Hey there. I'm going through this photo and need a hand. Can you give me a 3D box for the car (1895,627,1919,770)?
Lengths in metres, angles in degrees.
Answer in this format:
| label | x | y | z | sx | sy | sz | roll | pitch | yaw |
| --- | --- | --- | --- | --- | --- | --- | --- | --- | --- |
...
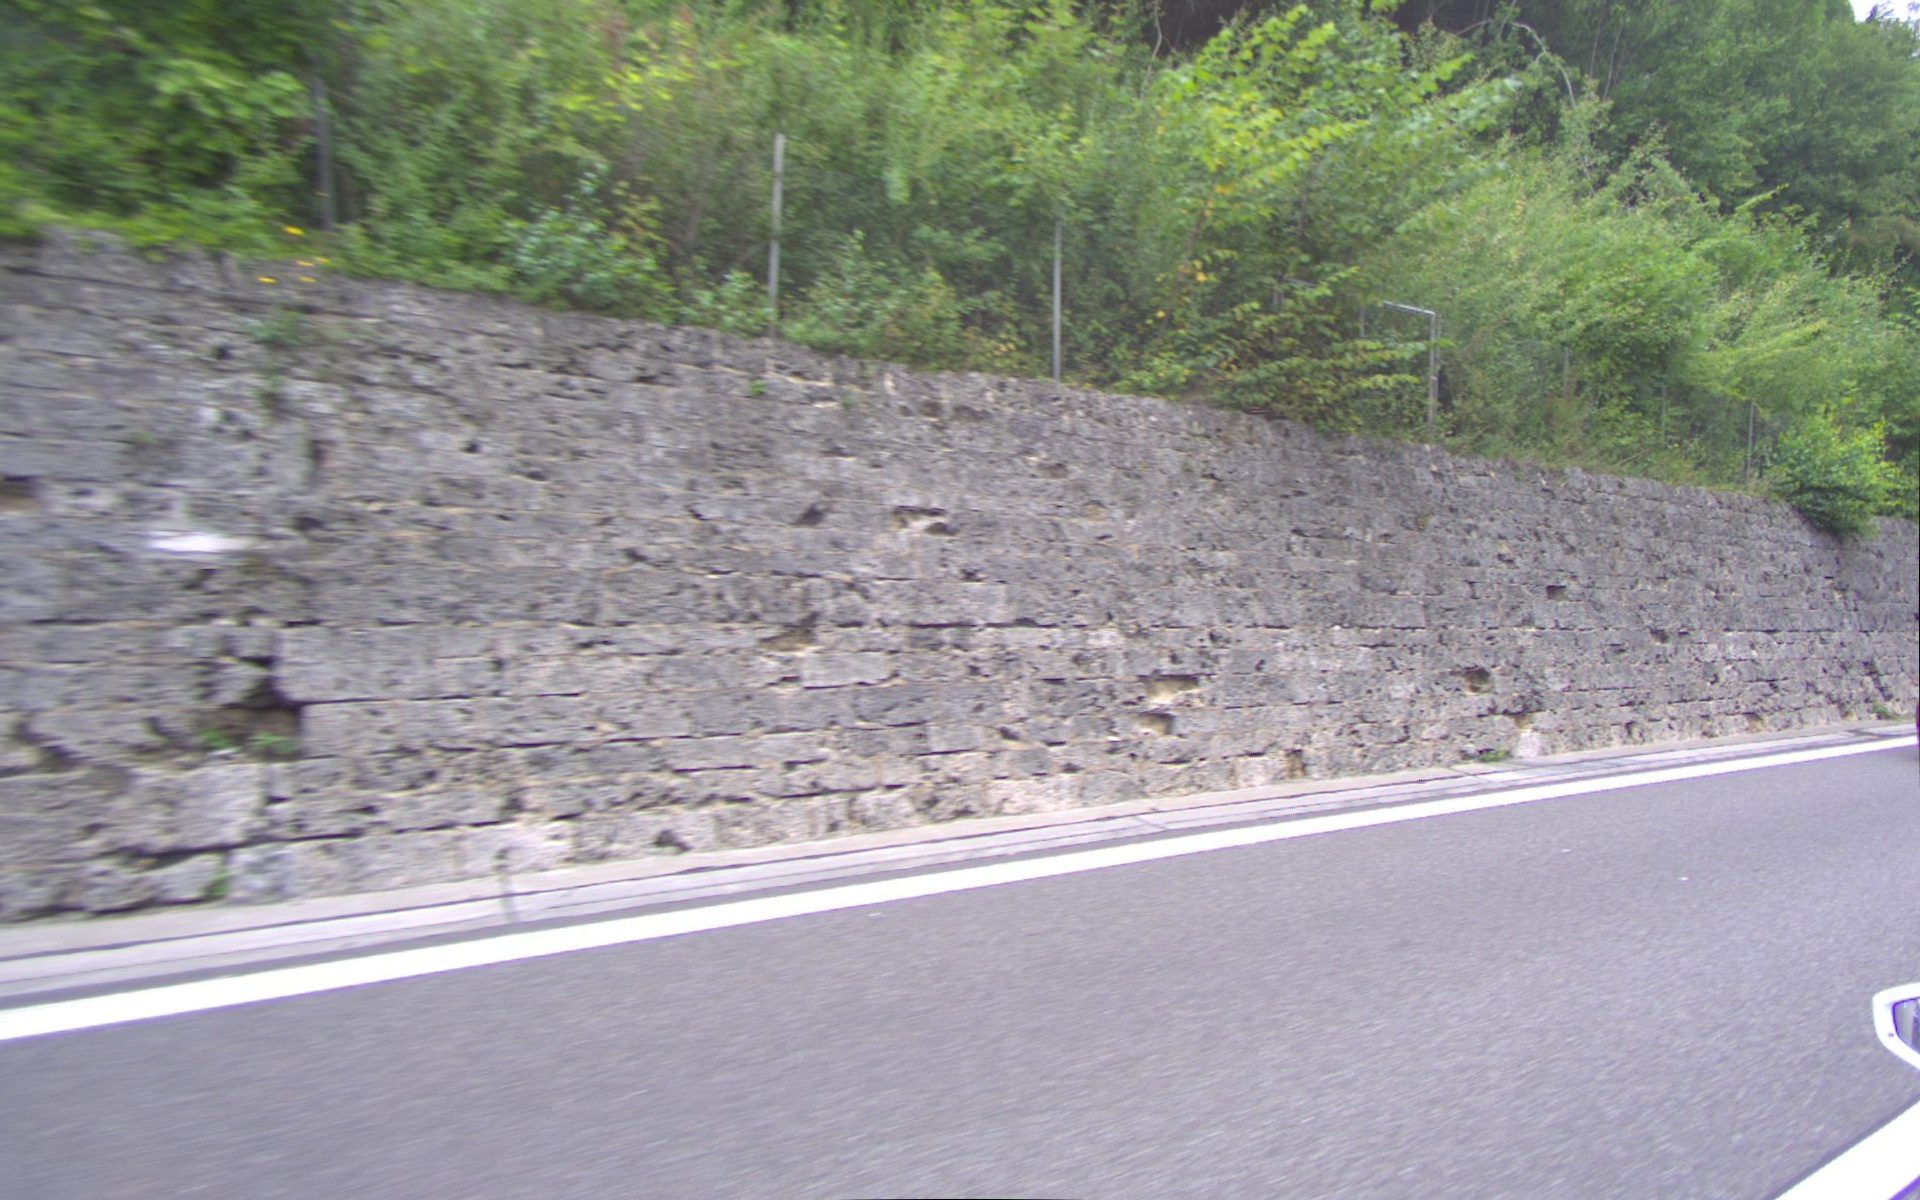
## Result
| label | x | y | z | sx | sy | sz | roll | pitch | yaw |
| --- | --- | --- | --- | --- | --- | --- | --- | --- | --- |
| car | 12.169 | 1.094 | 10.994 | 4.362 | 1.479 | 1.757 | 2 | 0 | -32 |
